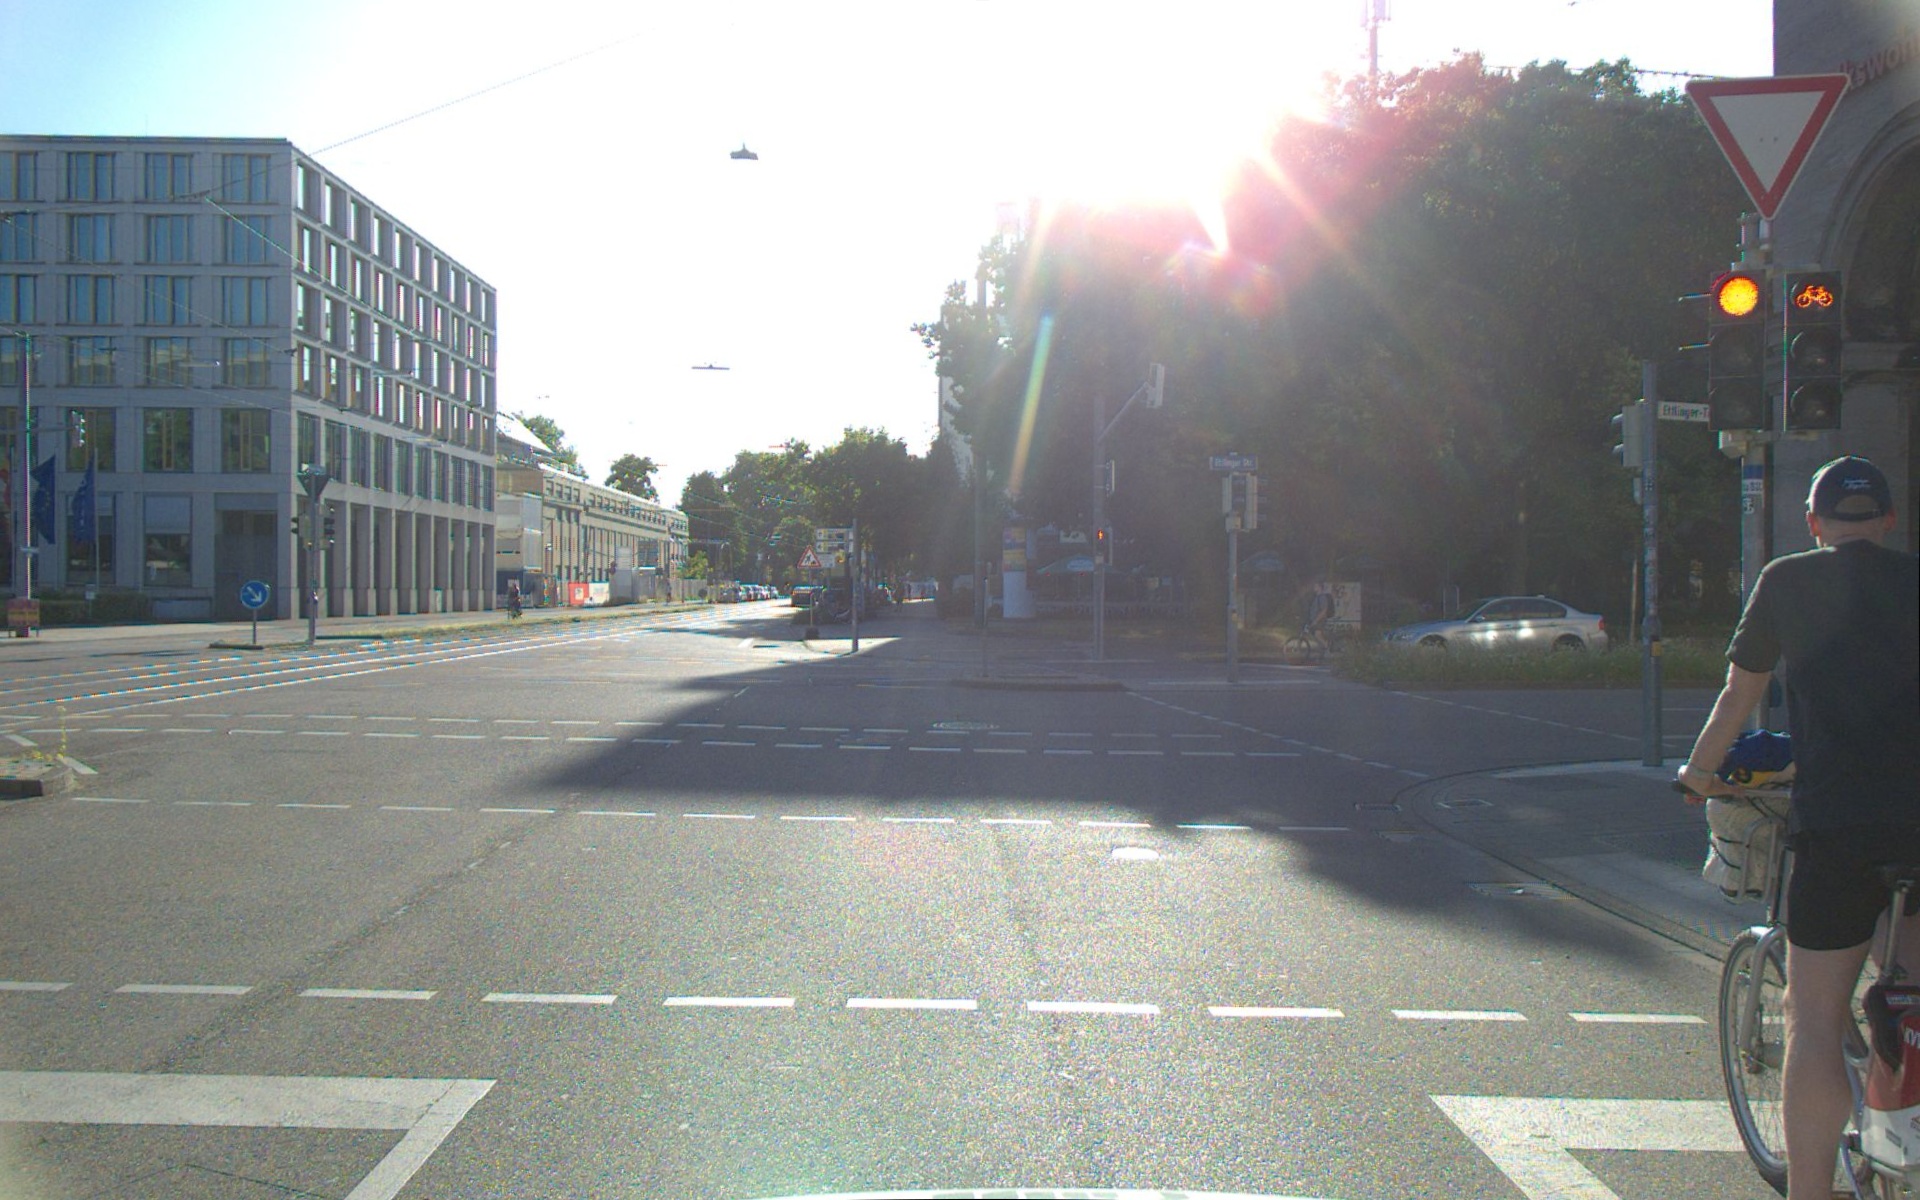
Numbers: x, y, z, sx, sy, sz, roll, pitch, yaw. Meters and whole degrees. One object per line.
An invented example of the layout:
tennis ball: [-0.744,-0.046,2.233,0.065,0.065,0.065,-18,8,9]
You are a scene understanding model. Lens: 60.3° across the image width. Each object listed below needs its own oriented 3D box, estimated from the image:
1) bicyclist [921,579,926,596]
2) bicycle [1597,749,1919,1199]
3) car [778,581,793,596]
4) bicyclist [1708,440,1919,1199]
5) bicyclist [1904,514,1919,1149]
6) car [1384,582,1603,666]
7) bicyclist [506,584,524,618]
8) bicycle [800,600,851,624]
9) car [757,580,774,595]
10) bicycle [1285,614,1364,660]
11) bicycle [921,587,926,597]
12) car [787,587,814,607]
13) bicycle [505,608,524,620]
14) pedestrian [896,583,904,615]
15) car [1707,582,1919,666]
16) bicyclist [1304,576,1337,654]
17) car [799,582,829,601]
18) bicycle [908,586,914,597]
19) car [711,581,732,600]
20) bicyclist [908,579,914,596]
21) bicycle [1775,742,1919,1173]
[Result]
bicyclist: [-3.736,-1.284,169.525,0.558,1.721,0.699,0,0,-1]
bicycle: [2.079,0.985,3.905,0.505,1.096,1.728,1,0,1]
car: [-22.051,-1.427,209.456,1.659,1.748,4.244,1,0,-4]
bicyclist: [2.098,0.583,3.747,0.547,1.830,0.550,1,0,1]
bicyclist: [2.891,0.632,4.246,0.546,1.721,0.640,1,0,-2]
car: [10.775,0.479,33.578,3.912,1.639,1.650,0,0,-1]
bicyclist: [-19.000,0.042,70.579,0.584,1.401,0.637,1,-1,-2]
bicycle: [-5.488,0.507,67.398,1.976,0.907,0.650,-2,-1,27]
car: [-22.845,-1.443,194.374,1.659,1.748,4.244,1,0,-4]
bicycle: [8.022,0.815,36.459,1.631,0.980,0.534,0,0,5]
bicycle: [-3.728,-0.808,169.127,0.563,1.096,1.830,0,0,-1]
car: [-12.127,-0.240,125.976,1.626,1.481,4.431,1,0,-1]
bicycle: [-18.999,0.588,70.583,0.491,0.524,1.257,1,0,-2]
pedestrian: [-3.525,-0.065,97.594,0.454,1.845,0.502,0,0,-5]
car: [17.439,0.466,33.621,3.770,1.639,1.650,0,0,-1]
bicyclist: [7.947,0.323,36.456,0.630,1.712,0.507,0,0,5]
car: [-12.669,-0.734,143.699,1.853,1.592,4.810,3,1,3]
bicycle: [-5.018,-0.831,168.896,0.563,1.096,1.830,0,0,-1]
car: [-22.482,-0.903,156.125,1.659,1.748,4.244,1,0,-4]
bicyclist: [-5.021,-1.279,168.879,0.558,1.721,0.699,0,0,-1]
bicycle: [2.867,1.004,4.353,0.523,1.096,1.750,1,0,-2]
